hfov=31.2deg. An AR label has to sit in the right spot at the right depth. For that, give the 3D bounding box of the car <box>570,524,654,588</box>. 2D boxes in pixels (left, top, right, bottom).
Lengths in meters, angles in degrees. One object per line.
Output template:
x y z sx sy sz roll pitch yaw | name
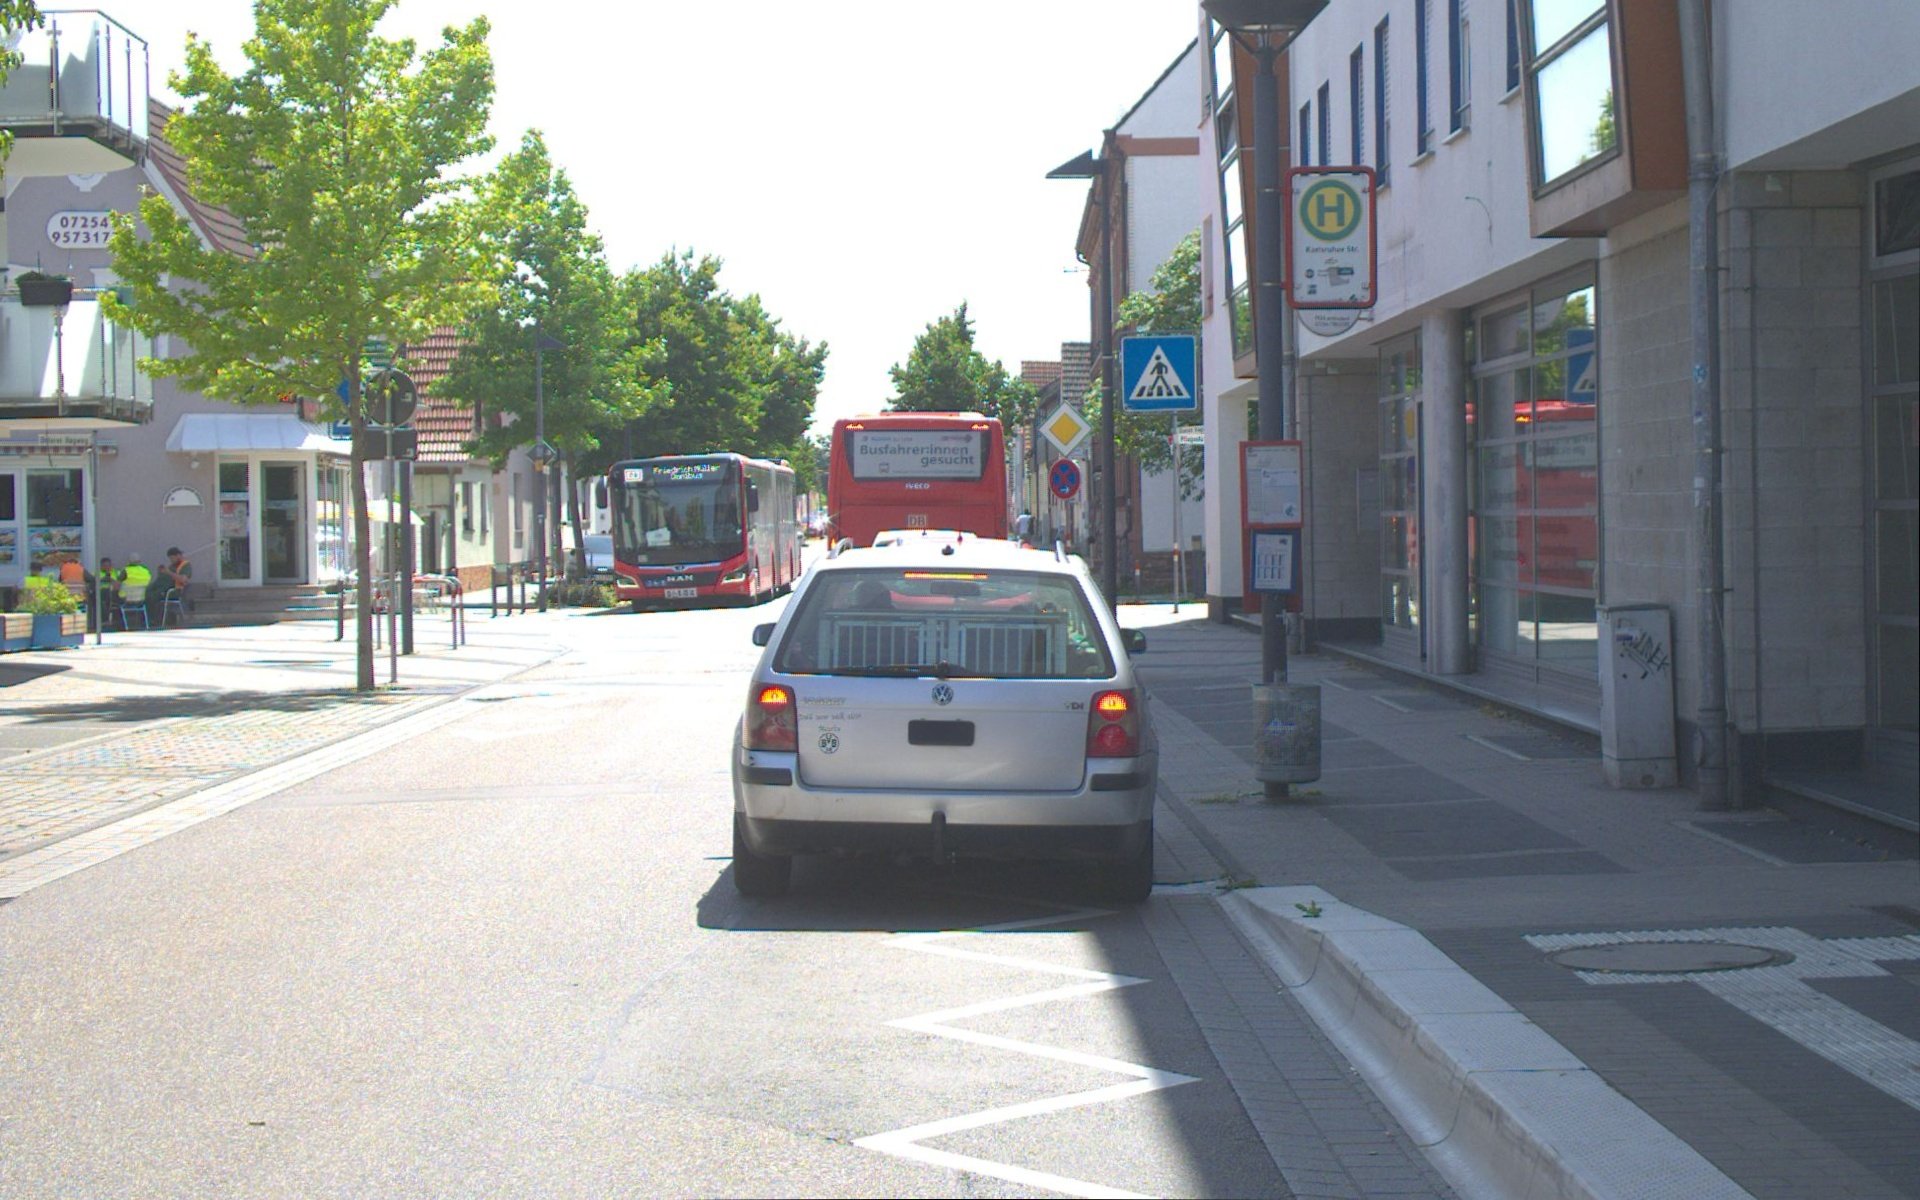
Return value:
-8.100 -1.043 80.275 1.605 1.433 4.065 -1 1 -1 | car

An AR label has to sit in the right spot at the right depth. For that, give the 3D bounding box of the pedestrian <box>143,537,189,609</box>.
-13.106 -0.451 56.737 0.622 1.175 0.697 -1 1 -5 | pedestrian

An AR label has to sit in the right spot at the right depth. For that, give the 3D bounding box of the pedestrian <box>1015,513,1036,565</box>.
2.118 -1.984 111.757 0.606 1.661 0.789 -1 1 -2 | pedestrian

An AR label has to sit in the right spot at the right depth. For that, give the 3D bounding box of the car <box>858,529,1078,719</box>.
0.032 0.145 28.166 1.677 1.425 3.680 0 1 -1 | car

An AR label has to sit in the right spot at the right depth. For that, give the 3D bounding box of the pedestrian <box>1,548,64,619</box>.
-14.763 -0.261 54.728 0.634 1.112 0.789 1 1 -44 | pedestrian

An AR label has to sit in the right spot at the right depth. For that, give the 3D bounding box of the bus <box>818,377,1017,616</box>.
-0.835 -1.555 53.773 2.740 3.287 12.707 0 1 -2 | bus

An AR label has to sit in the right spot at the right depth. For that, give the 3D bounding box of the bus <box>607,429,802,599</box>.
-5.167 -1.837 72.956 2.669 3.113 17.808 -1 2 0 | bus

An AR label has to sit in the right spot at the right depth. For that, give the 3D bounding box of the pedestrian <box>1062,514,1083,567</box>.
3.555 -1.875 108.532 0.606 1.661 0.789 -1 1 -2 | pedestrian

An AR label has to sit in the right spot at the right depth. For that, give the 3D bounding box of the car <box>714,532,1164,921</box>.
-0.109 0.446 14.916 1.677 1.425 3.680 1 1 -1 | car

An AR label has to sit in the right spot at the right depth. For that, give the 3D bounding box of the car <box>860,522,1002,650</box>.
-0.327 -0.198 40.757 1.593 1.425 3.680 1 1 0 | car

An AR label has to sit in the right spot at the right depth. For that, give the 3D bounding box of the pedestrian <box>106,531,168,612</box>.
-13.267 -0.461 55.425 0.634 1.284 0.789 1 1 -44 | pedestrian

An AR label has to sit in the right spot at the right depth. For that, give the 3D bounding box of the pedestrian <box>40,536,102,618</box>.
-14.370 -0.371 55.591 0.634 1.284 0.789 1 1 -44 | pedestrian
